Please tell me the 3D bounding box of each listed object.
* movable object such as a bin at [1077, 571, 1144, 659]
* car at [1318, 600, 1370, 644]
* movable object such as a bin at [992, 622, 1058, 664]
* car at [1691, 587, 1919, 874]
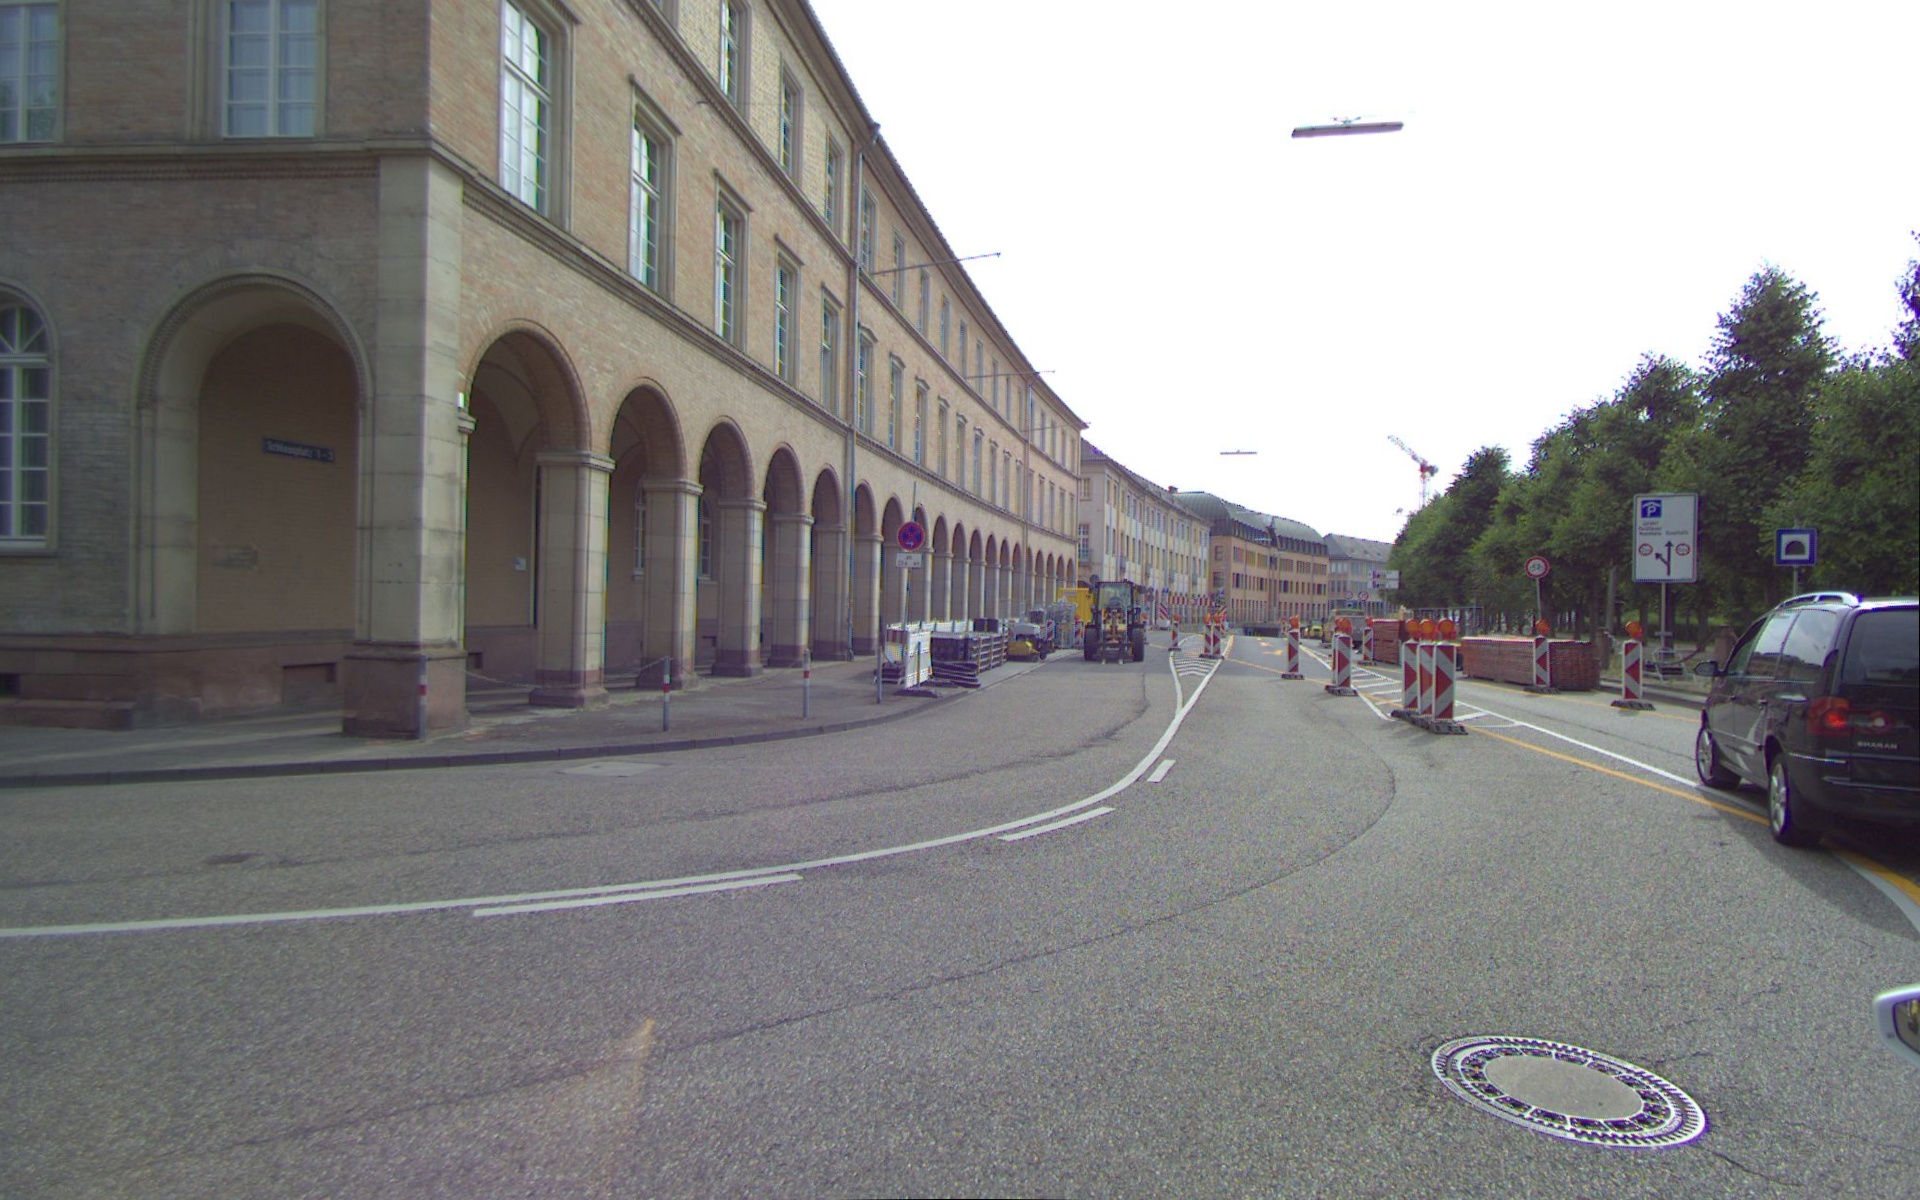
[{"bbox_3d":[5.222,0.503,34.394,2.079,2.754,4.622,1,-1,10],"label":"movable object such as a bin"},{"bbox_3d":[19.849,1.076,52.051,1.959,2.041,4.346,1,2,14],"label":"car"},{"bbox_3d":[2.165,1.378,32.789,1.776,1.140,2.749,1,1,12],"label":"movable object such as a bin"},{"bbox_3d":[7.039,0.821,7.723,1.767,1.731,4.124,1,0,29],"label":"car"}]
